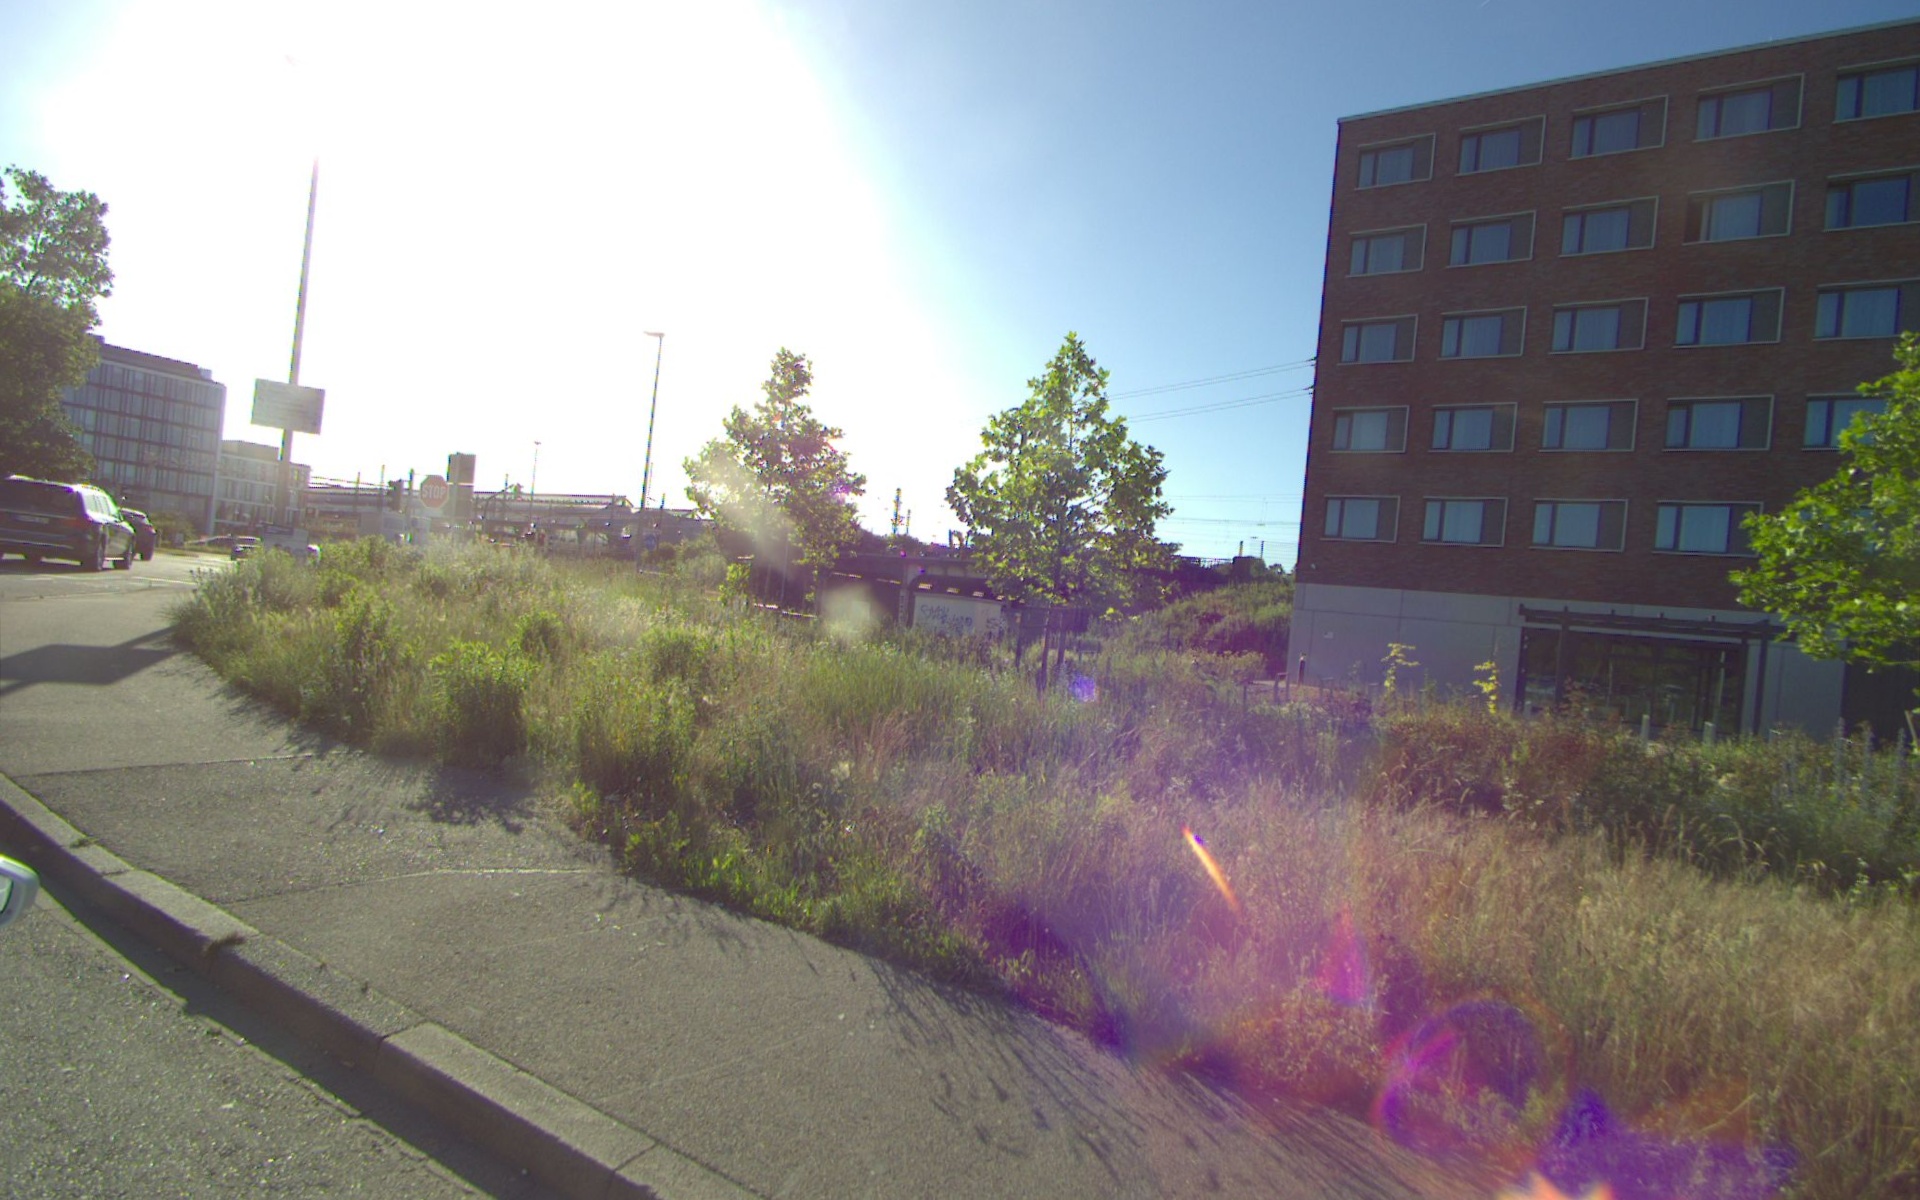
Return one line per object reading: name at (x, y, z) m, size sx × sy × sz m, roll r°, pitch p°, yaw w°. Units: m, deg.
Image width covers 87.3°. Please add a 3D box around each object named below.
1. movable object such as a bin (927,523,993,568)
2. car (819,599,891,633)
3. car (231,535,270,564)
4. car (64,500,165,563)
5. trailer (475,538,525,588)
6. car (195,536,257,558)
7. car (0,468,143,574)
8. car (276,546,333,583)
movable object such as a bin at (0.044, -3.714, 69.141) m, size 1.968 × 2.252 × 4.822 m, roll 6°, pitch -2°, yaw 33°
car at (-6.386, 1.014, 61.744) m, size 1.926 × 1.535 × 4.377 m, roll 5°, pitch -3°, yaw 34°
car at (-44.702, -3.186, 63.440) m, size 1.737 × 1.494 × 3.965 m, roll 7°, pitch -1°, yaw -33°
car at (-28.539, -2.326, 33.902) m, size 4.143 × 1.733 × 1.939 m, roll 6°, pitch -1°, yaw 42°
trailer at (-35.539, -2.817, 77.586) m, size 2.970 × 3.330 × 6.627 m, roll 8°, pitch -2°, yaw -26°
car at (-90.500, -6.563, 124.119) m, size 1.884 × 1.866 × 5.717 m, roll 7°, pitch -1°, yaw 28°
car at (-20.001, -1.706, 22.264) m, size 2.097 × 1.910 × 4.776 m, roll 7°, pitch -1°, yaw -30°
car at (-31.995, -1.727, 49.207) m, size 1.733 × 1.494 × 3.974 m, roll 7°, pitch -1°, yaw -27°
